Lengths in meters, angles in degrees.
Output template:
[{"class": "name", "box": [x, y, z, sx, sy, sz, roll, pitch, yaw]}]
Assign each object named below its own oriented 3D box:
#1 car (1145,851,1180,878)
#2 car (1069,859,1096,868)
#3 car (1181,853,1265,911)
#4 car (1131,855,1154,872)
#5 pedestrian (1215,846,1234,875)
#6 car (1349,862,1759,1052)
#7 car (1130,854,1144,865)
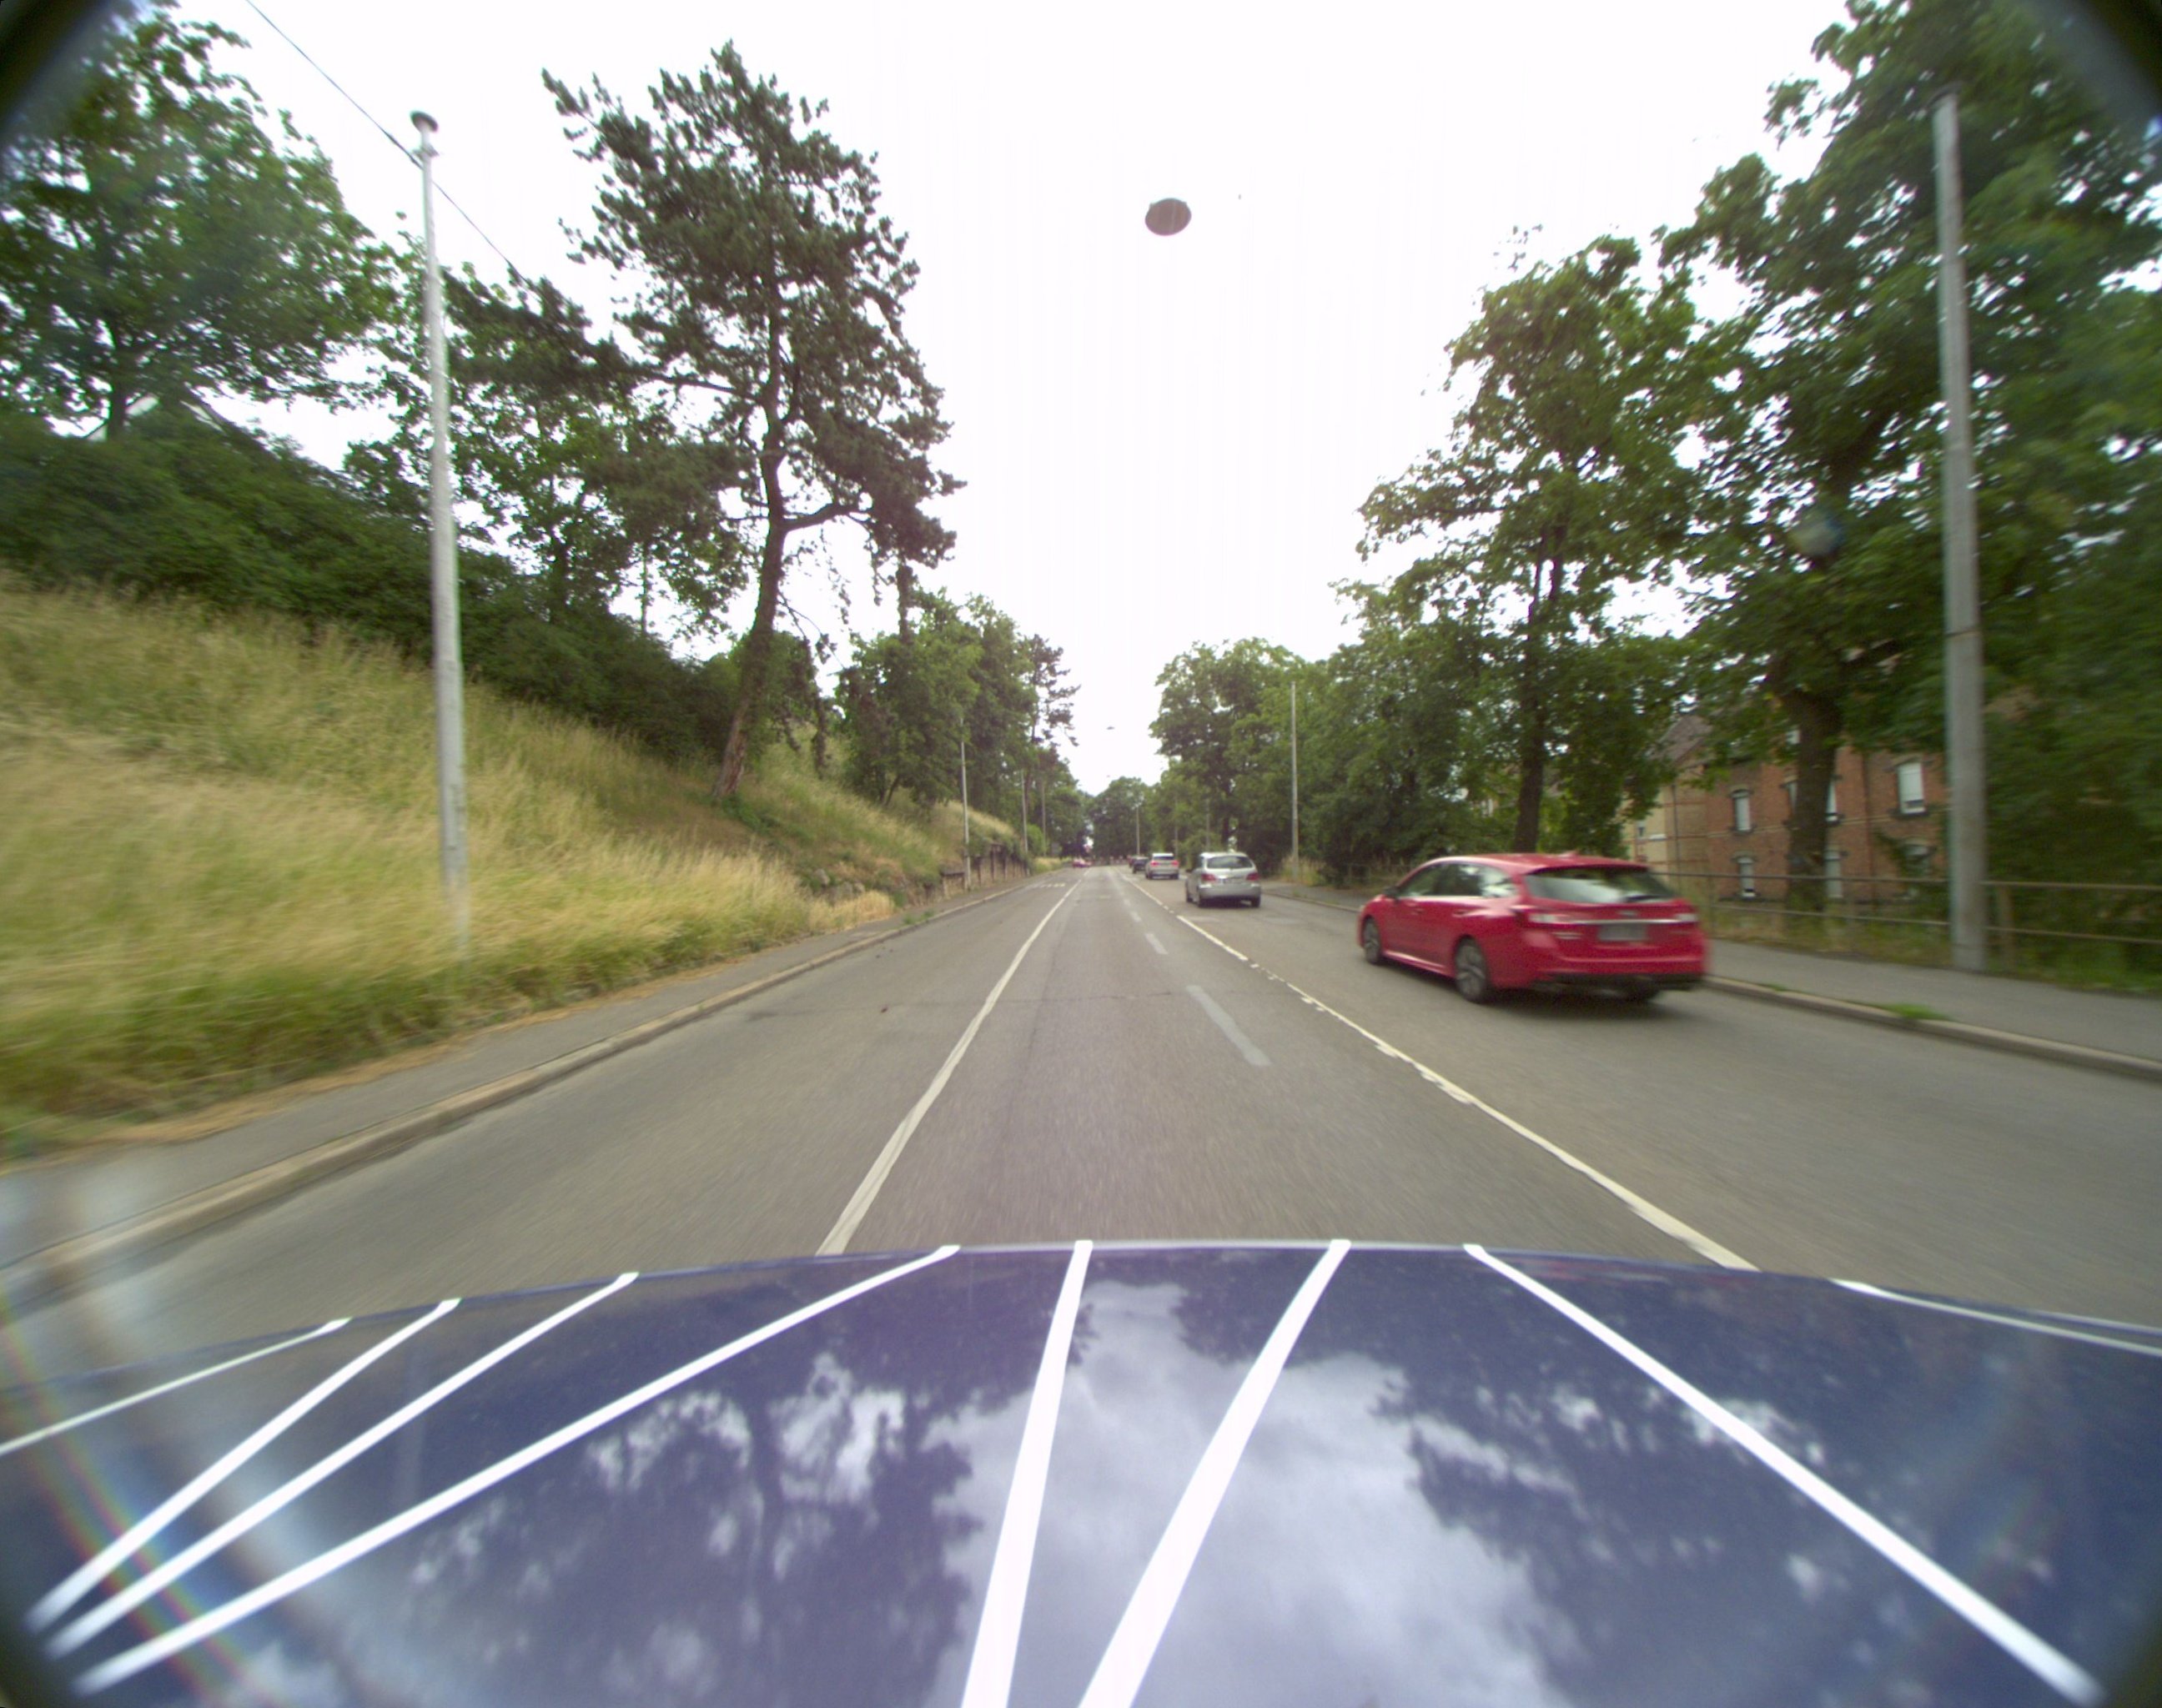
[{"class": "car", "box": [5.484, 0.672, 51.584, 2.000, 1.673, 4.663, -1, 0, 1]}, {"class": "car", "box": [0.239, 1.591, 126.995, 4.268, 1.565, 1.793, -1, 1, 41]}, {"class": "car", "box": [4.234, 0.773, 23.272, 1.788, 1.565, 4.280, -1, 0, 1]}, {"class": "car", "box": [5.448, 0.816, 68.077, 1.717, 1.419, 4.139, -1, 0, 0]}, {"class": "pedestrian", "box": [9.060, 0.418, 48.003, 0.790, 1.764, 1.209, -5, 0, -1]}, {"class": "car", "box": [4.618, 0.856, 8.377, 1.788, 1.451, 4.428, -1, 0, 1]}, {"class": "car", "box": [7.307, 0.689, 99.152, 1.673, 1.439, 3.688, -1, 0, 2]}]
